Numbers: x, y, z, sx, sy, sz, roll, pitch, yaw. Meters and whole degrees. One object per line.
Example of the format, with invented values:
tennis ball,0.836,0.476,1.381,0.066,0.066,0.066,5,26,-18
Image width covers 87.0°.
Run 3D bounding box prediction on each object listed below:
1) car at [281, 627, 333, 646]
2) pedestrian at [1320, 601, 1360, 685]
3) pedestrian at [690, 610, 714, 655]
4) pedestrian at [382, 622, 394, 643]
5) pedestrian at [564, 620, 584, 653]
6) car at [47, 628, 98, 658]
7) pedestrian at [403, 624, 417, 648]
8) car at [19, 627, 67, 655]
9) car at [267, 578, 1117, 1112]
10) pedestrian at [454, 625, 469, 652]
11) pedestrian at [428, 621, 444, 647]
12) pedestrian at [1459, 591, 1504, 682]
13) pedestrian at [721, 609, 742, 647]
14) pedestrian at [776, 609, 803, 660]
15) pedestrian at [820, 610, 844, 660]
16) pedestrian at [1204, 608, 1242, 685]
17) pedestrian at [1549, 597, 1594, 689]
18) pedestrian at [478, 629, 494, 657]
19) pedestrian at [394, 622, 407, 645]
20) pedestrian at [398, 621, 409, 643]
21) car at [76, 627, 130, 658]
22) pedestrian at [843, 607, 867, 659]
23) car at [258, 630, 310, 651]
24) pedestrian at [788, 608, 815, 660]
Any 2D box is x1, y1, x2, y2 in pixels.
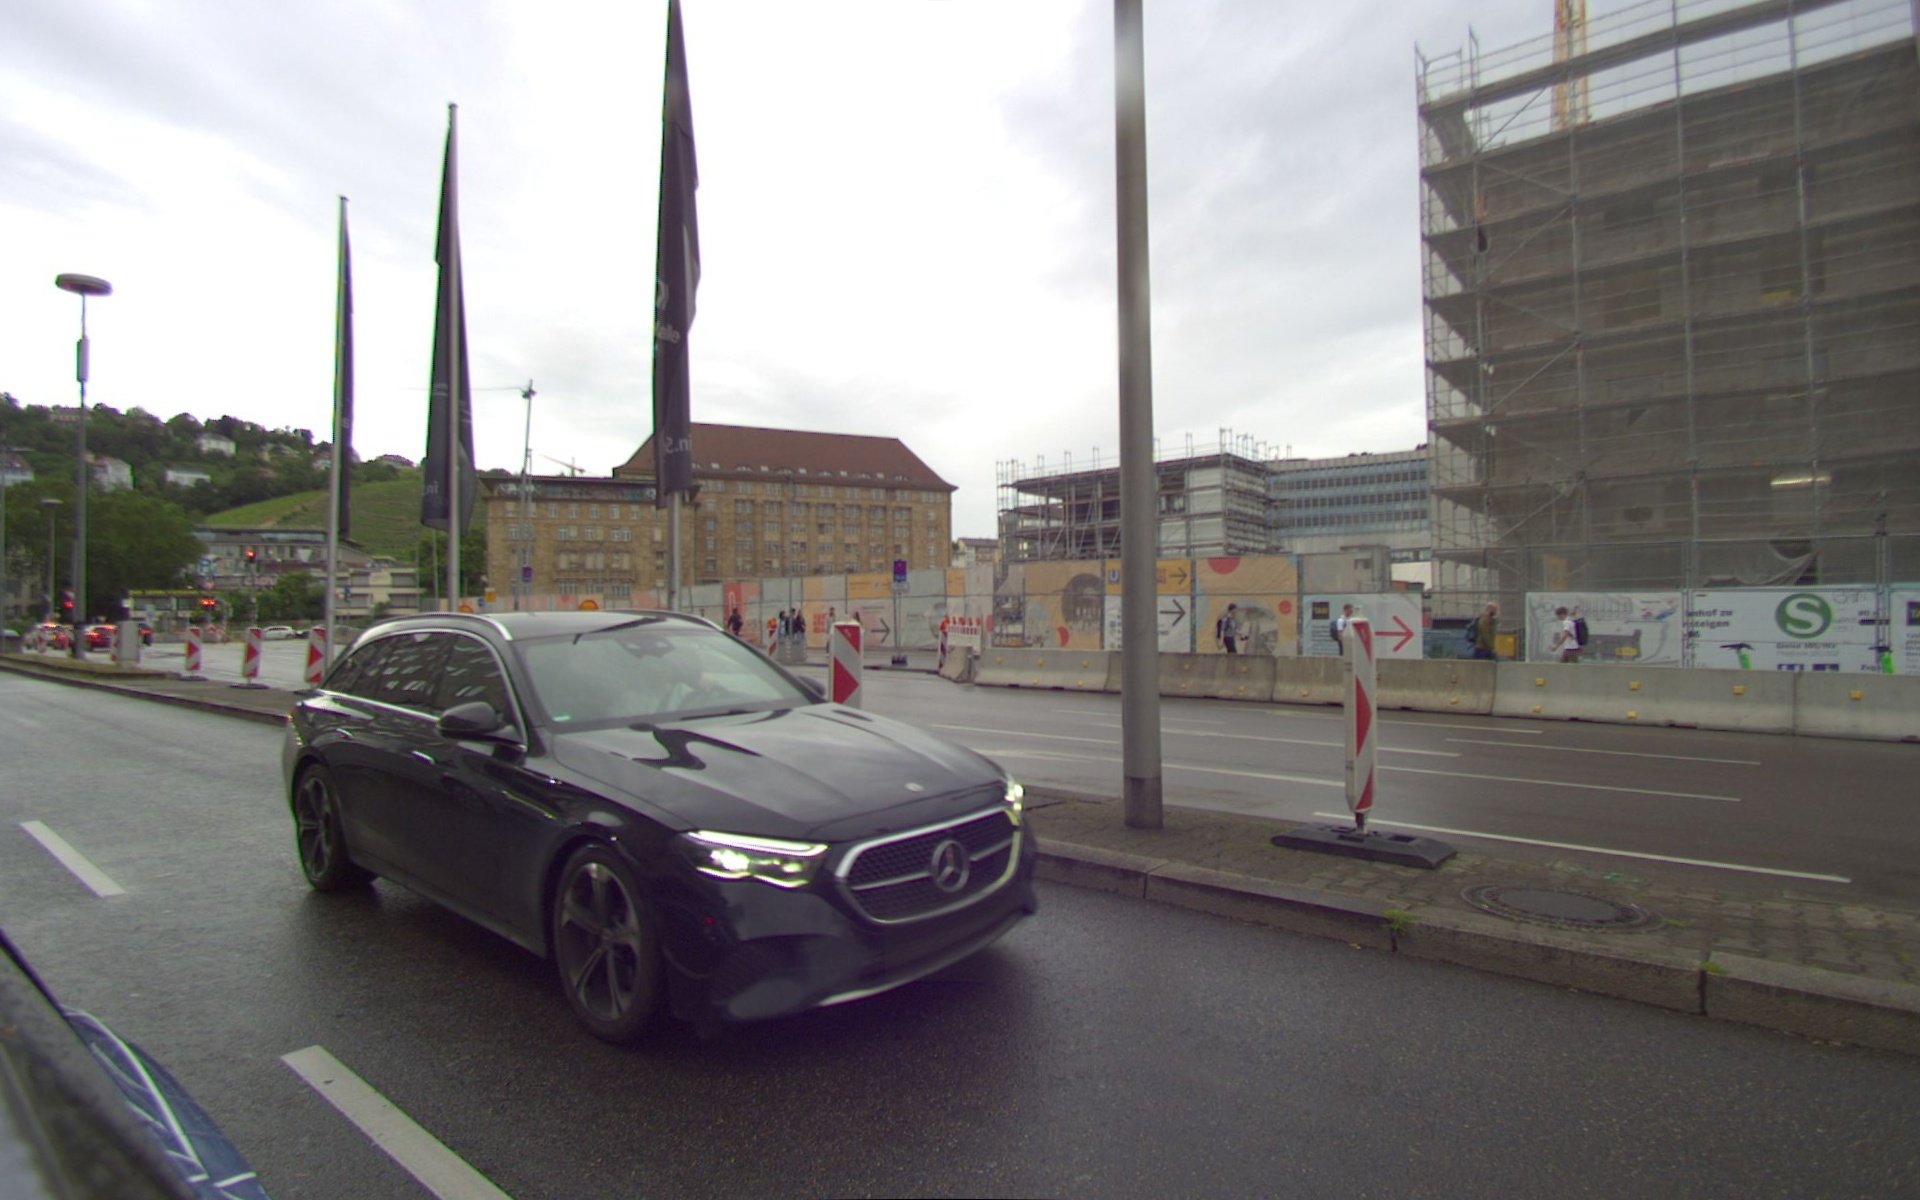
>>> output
car,-60.333,3.376,93.512,3.934,1.644,2.005,0,-2,-36
pedestrian,8.602,0.964,22.921,0.717,1.850,0.475,-1,0,41
pedestrian,-10.728,1.354,42.157,0.720,1.850,0.656,-1,0,41
pedestrian,-43.822,2.496,77.519,0.704,1.628,0.545,-1,0,-35
pedestrian,-18.968,1.786,49.726,0.544,1.628,0.706,-1,0,41
car,-54.168,2.570,61.747,3.913,1.707,1.763,-1,0,40
pedestrian,-37.643,2.440,69.227,0.544,1.628,0.706,-1,0,41
car,-59.664,2.663,65.809,3.913,1.707,1.763,-1,0,40
car,-1.674,0.699,5.020,4.585,1.480,1.836,-1,0,41
pedestrian,-31.016,2.403,62.961,0.544,1.628,0.706,-1,0,41
pedestrian,-33.265,2.145,64.252,0.544,1.628,0.706,-1,0,41
pedestrian,10.758,0.744,20.883,0.717,1.850,0.475,-1,0,41
pedestrian,-9.987,1.211,44.177,0.544,1.628,0.706,-1,0,41
pedestrian,-5.953,1.203,35.407,0.704,1.746,0.719,-1,0,-31
pedestrian,-4.595,1.240,36.334,0.704,1.757,0.565,-1,0,-29
pedestrian,6.500,1.128,25.010,0.717,1.850,0.579,-1,0,41
pedestrian,12.662,0.879,20.959,0.717,1.850,0.475,-1,0,41
pedestrian,-28.078,2.564,59.981,0.544,1.628,0.706,-1,0,41
pedestrian,-40.712,2.416,73.651,0.544,1.628,0.706,-1,0,41
pedestrian,-42.896,2.455,78.001,0.704,1.628,0.545,-1,0,-37
car,-48.402,2.379,57.141,3.914,1.707,1.762,-2,-2,41
pedestrian,-3.791,1.171,36.555,0.651,1.850,0.557,-1,0,-29
car,-68.936,4.102,103.174,4.136,1.871,1.833,-1,0,-44
pedestrian,-5.715,1.220,36.445,0.704,1.850,0.719,-1,0,-31
